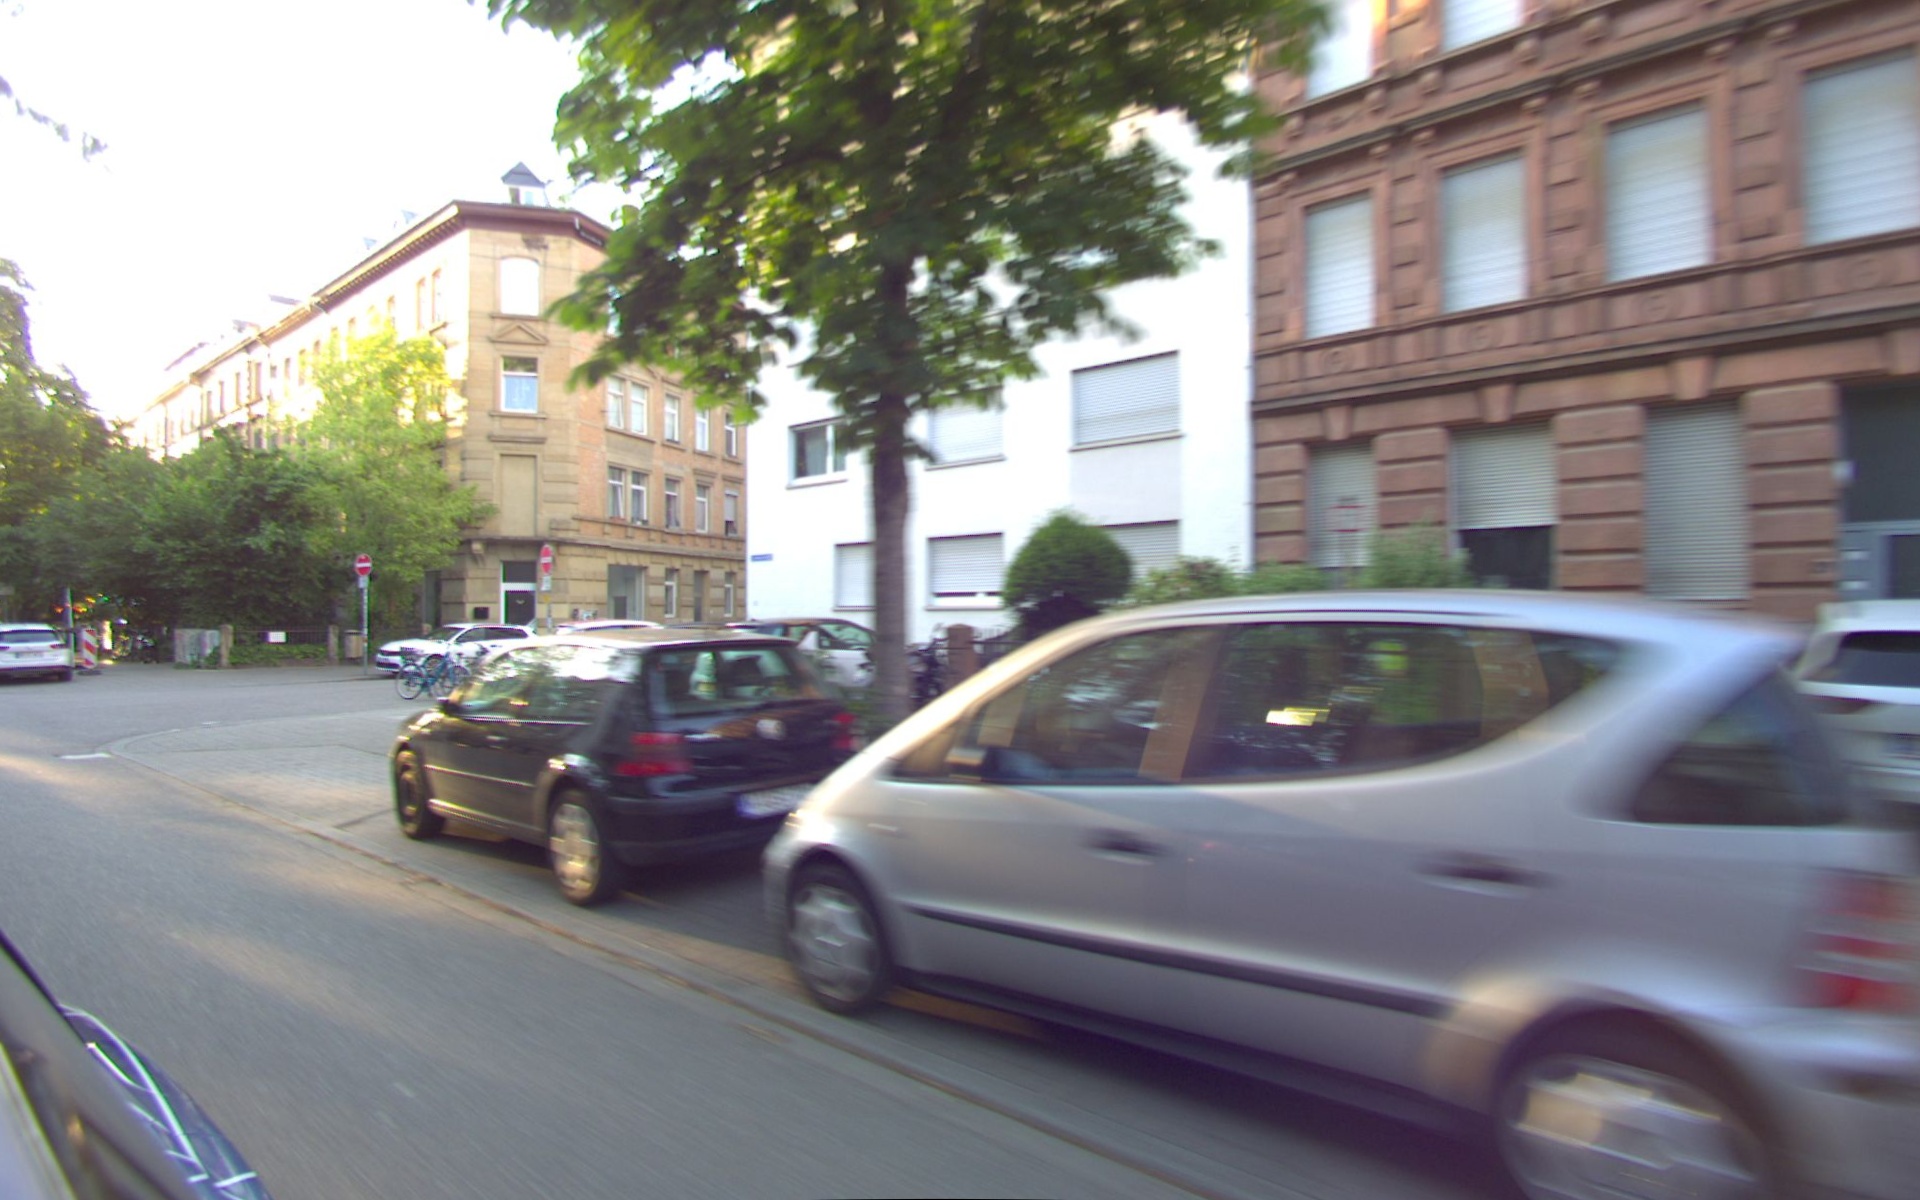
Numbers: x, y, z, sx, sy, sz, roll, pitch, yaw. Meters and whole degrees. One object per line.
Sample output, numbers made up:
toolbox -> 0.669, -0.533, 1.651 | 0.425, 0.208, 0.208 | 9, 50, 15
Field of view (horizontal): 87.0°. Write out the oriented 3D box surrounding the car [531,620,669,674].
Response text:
car -> -11.521, 1.479, 32.685 | 1.702, 1.564, 4.064 | 1, -1, 30

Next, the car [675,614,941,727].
car -> -2.226, 0.978, 15.199 | 3.519, 1.458, 1.820 | 0, -2, -40

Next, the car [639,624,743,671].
car -> -9.778, 1.689, 37.075 | 1.698, 1.564, 3.845 | 1, -1, 23

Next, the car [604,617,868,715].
car -> -3.786, 1.055, 17.398 | 4.040, 1.458, 1.821 | 0, -2, -39

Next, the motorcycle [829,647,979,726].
motorcycle -> -0.760, 1.193, 14.394 | 2.207, 0.965, 0.588 | -1, -1, -40

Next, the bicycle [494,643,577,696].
bicycle -> -9.275, 1.514, 22.123 | 1.834, 1.118, 0.365 | -1, -1, 15

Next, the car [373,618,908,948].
car -> -2.277, 0.878, 6.543 | 3.962, 1.482, 1.598 | -2, -2, 44

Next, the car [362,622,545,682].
car -> -14.162, 1.435, 28.556 | 1.703, 1.564, 4.419 | -2, -3, 31

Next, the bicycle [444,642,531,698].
bicycle -> -9.812, 1.441, 21.022 | 1.834, 1.118, 0.365 | -1, -1, 15

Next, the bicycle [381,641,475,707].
bicycle -> -10.319, 1.423, 19.627 | 1.860, 1.190, 0.336 | 1, -1, 15

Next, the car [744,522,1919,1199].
car -> 1.092, 0.698, 3.511 | 3.739, 1.615, 1.580 | -2, -2, 38

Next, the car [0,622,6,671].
car -> -32.947, 1.560, 33.397 | 4.400, 1.575, 1.672 | -2, 0, 41

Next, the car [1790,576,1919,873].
car -> 6.810, 0.648, 6.930 | 1.707, 1.539, 4.052 | -1, 1, 40

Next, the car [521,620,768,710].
car -> -5.791, 1.134, 18.812 | 4.041, 1.458, 1.712 | 0, -2, -40

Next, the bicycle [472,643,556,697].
bicycle -> -9.591, 1.494, 21.770 | 1.834, 1.118, 0.365 | -1, -1, 15

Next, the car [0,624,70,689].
car -> -24.798, 1.437, 26.347 | 4.733, 1.513, 1.673 | -2, 0, 40

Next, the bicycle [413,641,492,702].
bicycle -> -10.161, 1.428, 20.253 | 1.664, 1.190, 0.242 | -1, -1, 15

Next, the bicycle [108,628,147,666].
bicycle -> -29.690, 1.657, 36.128 | 0.597, 1.294, 2.493 | 1, -2, -29

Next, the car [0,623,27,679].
car -> -29.277, 1.513, 30.133 | 4.400, 1.513, 1.672 | -1, 1, 41

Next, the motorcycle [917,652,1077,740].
motorcycle -> 0.508, 1.182, 12.901 | 2.207, 0.965, 0.588 | 0, -1, -40

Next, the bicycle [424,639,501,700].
bicycle -> -10.084, 1.398, 20.505 | 1.664, 1.190, 0.242 | -1, -1, 15

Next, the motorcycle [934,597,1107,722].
motorcycle -> 0.925, 0.802, 14.530 | 2.817, 1.651, 0.676 | 1, -2, -41
